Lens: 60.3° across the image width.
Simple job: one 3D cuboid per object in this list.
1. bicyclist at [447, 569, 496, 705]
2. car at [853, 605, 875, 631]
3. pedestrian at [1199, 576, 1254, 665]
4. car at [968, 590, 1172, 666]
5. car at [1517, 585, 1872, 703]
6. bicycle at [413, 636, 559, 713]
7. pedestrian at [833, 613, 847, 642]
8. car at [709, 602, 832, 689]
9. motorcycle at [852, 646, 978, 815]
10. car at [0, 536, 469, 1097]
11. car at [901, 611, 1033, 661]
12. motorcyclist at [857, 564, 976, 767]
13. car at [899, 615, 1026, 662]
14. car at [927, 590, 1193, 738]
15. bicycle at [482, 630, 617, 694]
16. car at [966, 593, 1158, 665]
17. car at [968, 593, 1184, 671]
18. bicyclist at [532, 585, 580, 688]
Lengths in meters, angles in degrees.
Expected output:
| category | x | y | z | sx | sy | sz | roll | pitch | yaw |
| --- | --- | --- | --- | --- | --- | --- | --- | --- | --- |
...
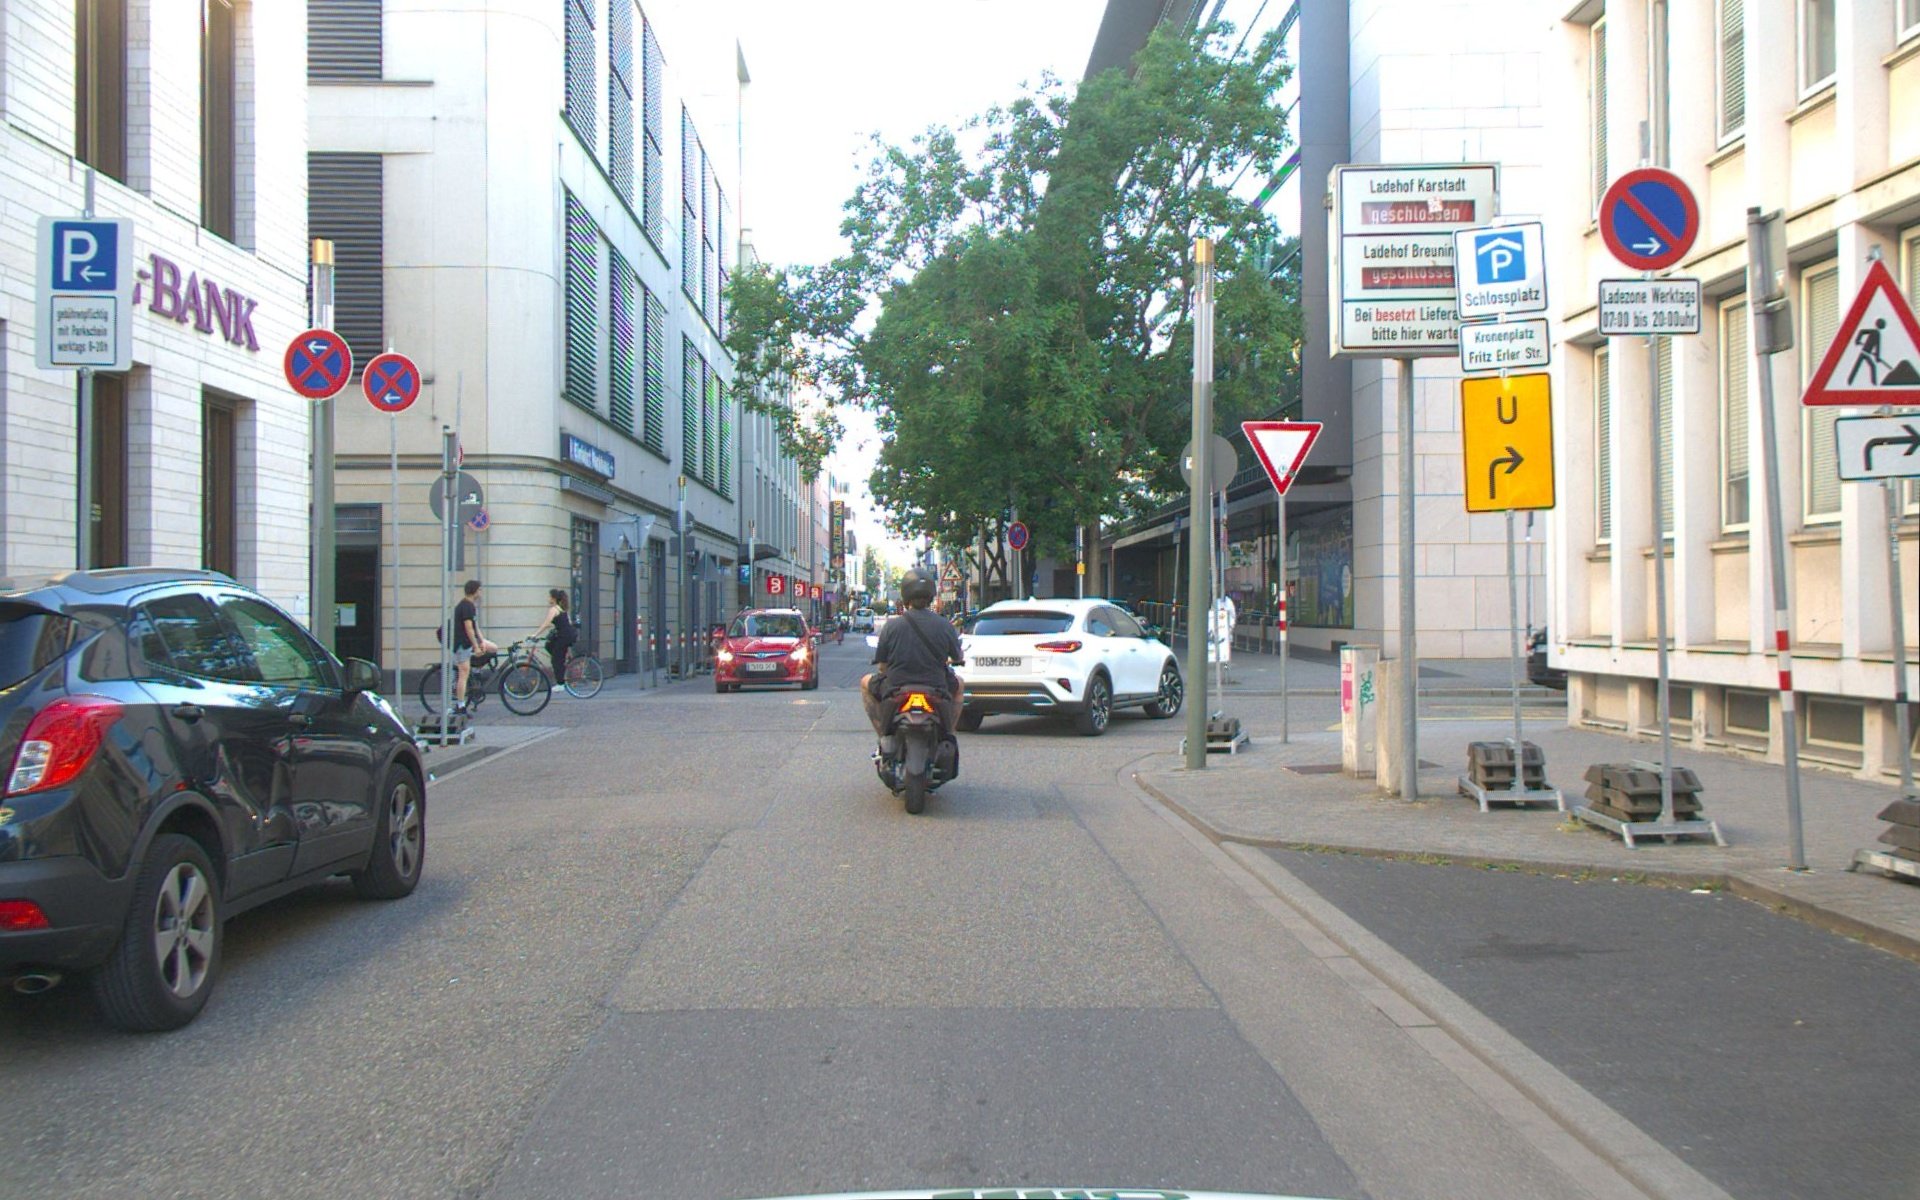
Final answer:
| category | x | y | z | sx | sy | sz | roll | pitch | yaw |
| --- | --- | --- | --- | --- | --- | --- | --- | --- | --- |
| bicyclist | -6.405 | 0.484 | 21.684 | 0.540 | 1.762 | 0.500 | 1 | -1 | -10 |
| car | -8.848 | 1.640 | 152.151 | 1.954 | 2.370 | 5.016 | 1 | 0 | -4 |
| pedestrian | 5.412 | 0.422 | 33.646 | 0.887 | 1.735 | 0.834 | -3 | -1 | -1 |
| car | 2.776 | 0.712 | 42.337 | 4.907 | 1.525 | 1.998 | -4 | -1 | -4 |
| car | 10.235 | 0.589 | 23.342 | 4.257 | 1.568 | 1.830 | 0 | 1 | 9 |
| bicycle | -6.200 | 0.973 | 21.710 | 1.782 | 0.991 | 0.510 | 1 | -1 | -11 |
| pedestrian | -6.679 | 1.550 | 92.160 | 0.717 | 1.602 | 0.636 | 0 | -1 | -1 |
| car | -3.457 | 0.870 | 30.868 | 1.785 | 1.491 | 4.263 | 0 | -2 | 0 |
| motorcycle | -0.316 | 0.911 | 12.172 | 0.855 | 1.129 | 1.839 | 0 | -1 | -1 |
| car | -3.671 | 0.687 | 7.176 | 1.785 | 1.707 | 4.263 | -2 | 0 | -1 |
| car | 0.241 | 1.388 | 64.146 | 4.907 | 1.525 | 1.998 | -4 | -1 | -4 |
| motorcyclist | -0.314 | 0.475 | 12.136 | 0.849 | 1.452 | 0.455 | 0 | -1 | -1 |
| car | 0.057 | 1.547 | 66.723 | 4.907 | 1.525 | 1.998 | -4 | -1 | -4 |
| car | 1.324 | 0.674 | 19.840 | 1.786 | 1.568 | 4.261 | 0 | 0 | 24 |
| bicycle | -6.644 | 0.992 | 26.804 | 2.058 | 1.012 | 0.519 | 0 | -1 | 3 |
| car | 2.712 | 0.782 | 44.835 | 4.907 | 1.525 | 1.998 | -4 | -1 | -4 |
| car | 2.753 | 0.765 | 39.908 | 4.907 | 1.477 | 1.998 | -4 | -1 | -4 |
| bicyclist | -6.542 | 0.585 | 26.795 | 0.616 | 1.654 | 0.498 | 0 | -1 | 3 |
